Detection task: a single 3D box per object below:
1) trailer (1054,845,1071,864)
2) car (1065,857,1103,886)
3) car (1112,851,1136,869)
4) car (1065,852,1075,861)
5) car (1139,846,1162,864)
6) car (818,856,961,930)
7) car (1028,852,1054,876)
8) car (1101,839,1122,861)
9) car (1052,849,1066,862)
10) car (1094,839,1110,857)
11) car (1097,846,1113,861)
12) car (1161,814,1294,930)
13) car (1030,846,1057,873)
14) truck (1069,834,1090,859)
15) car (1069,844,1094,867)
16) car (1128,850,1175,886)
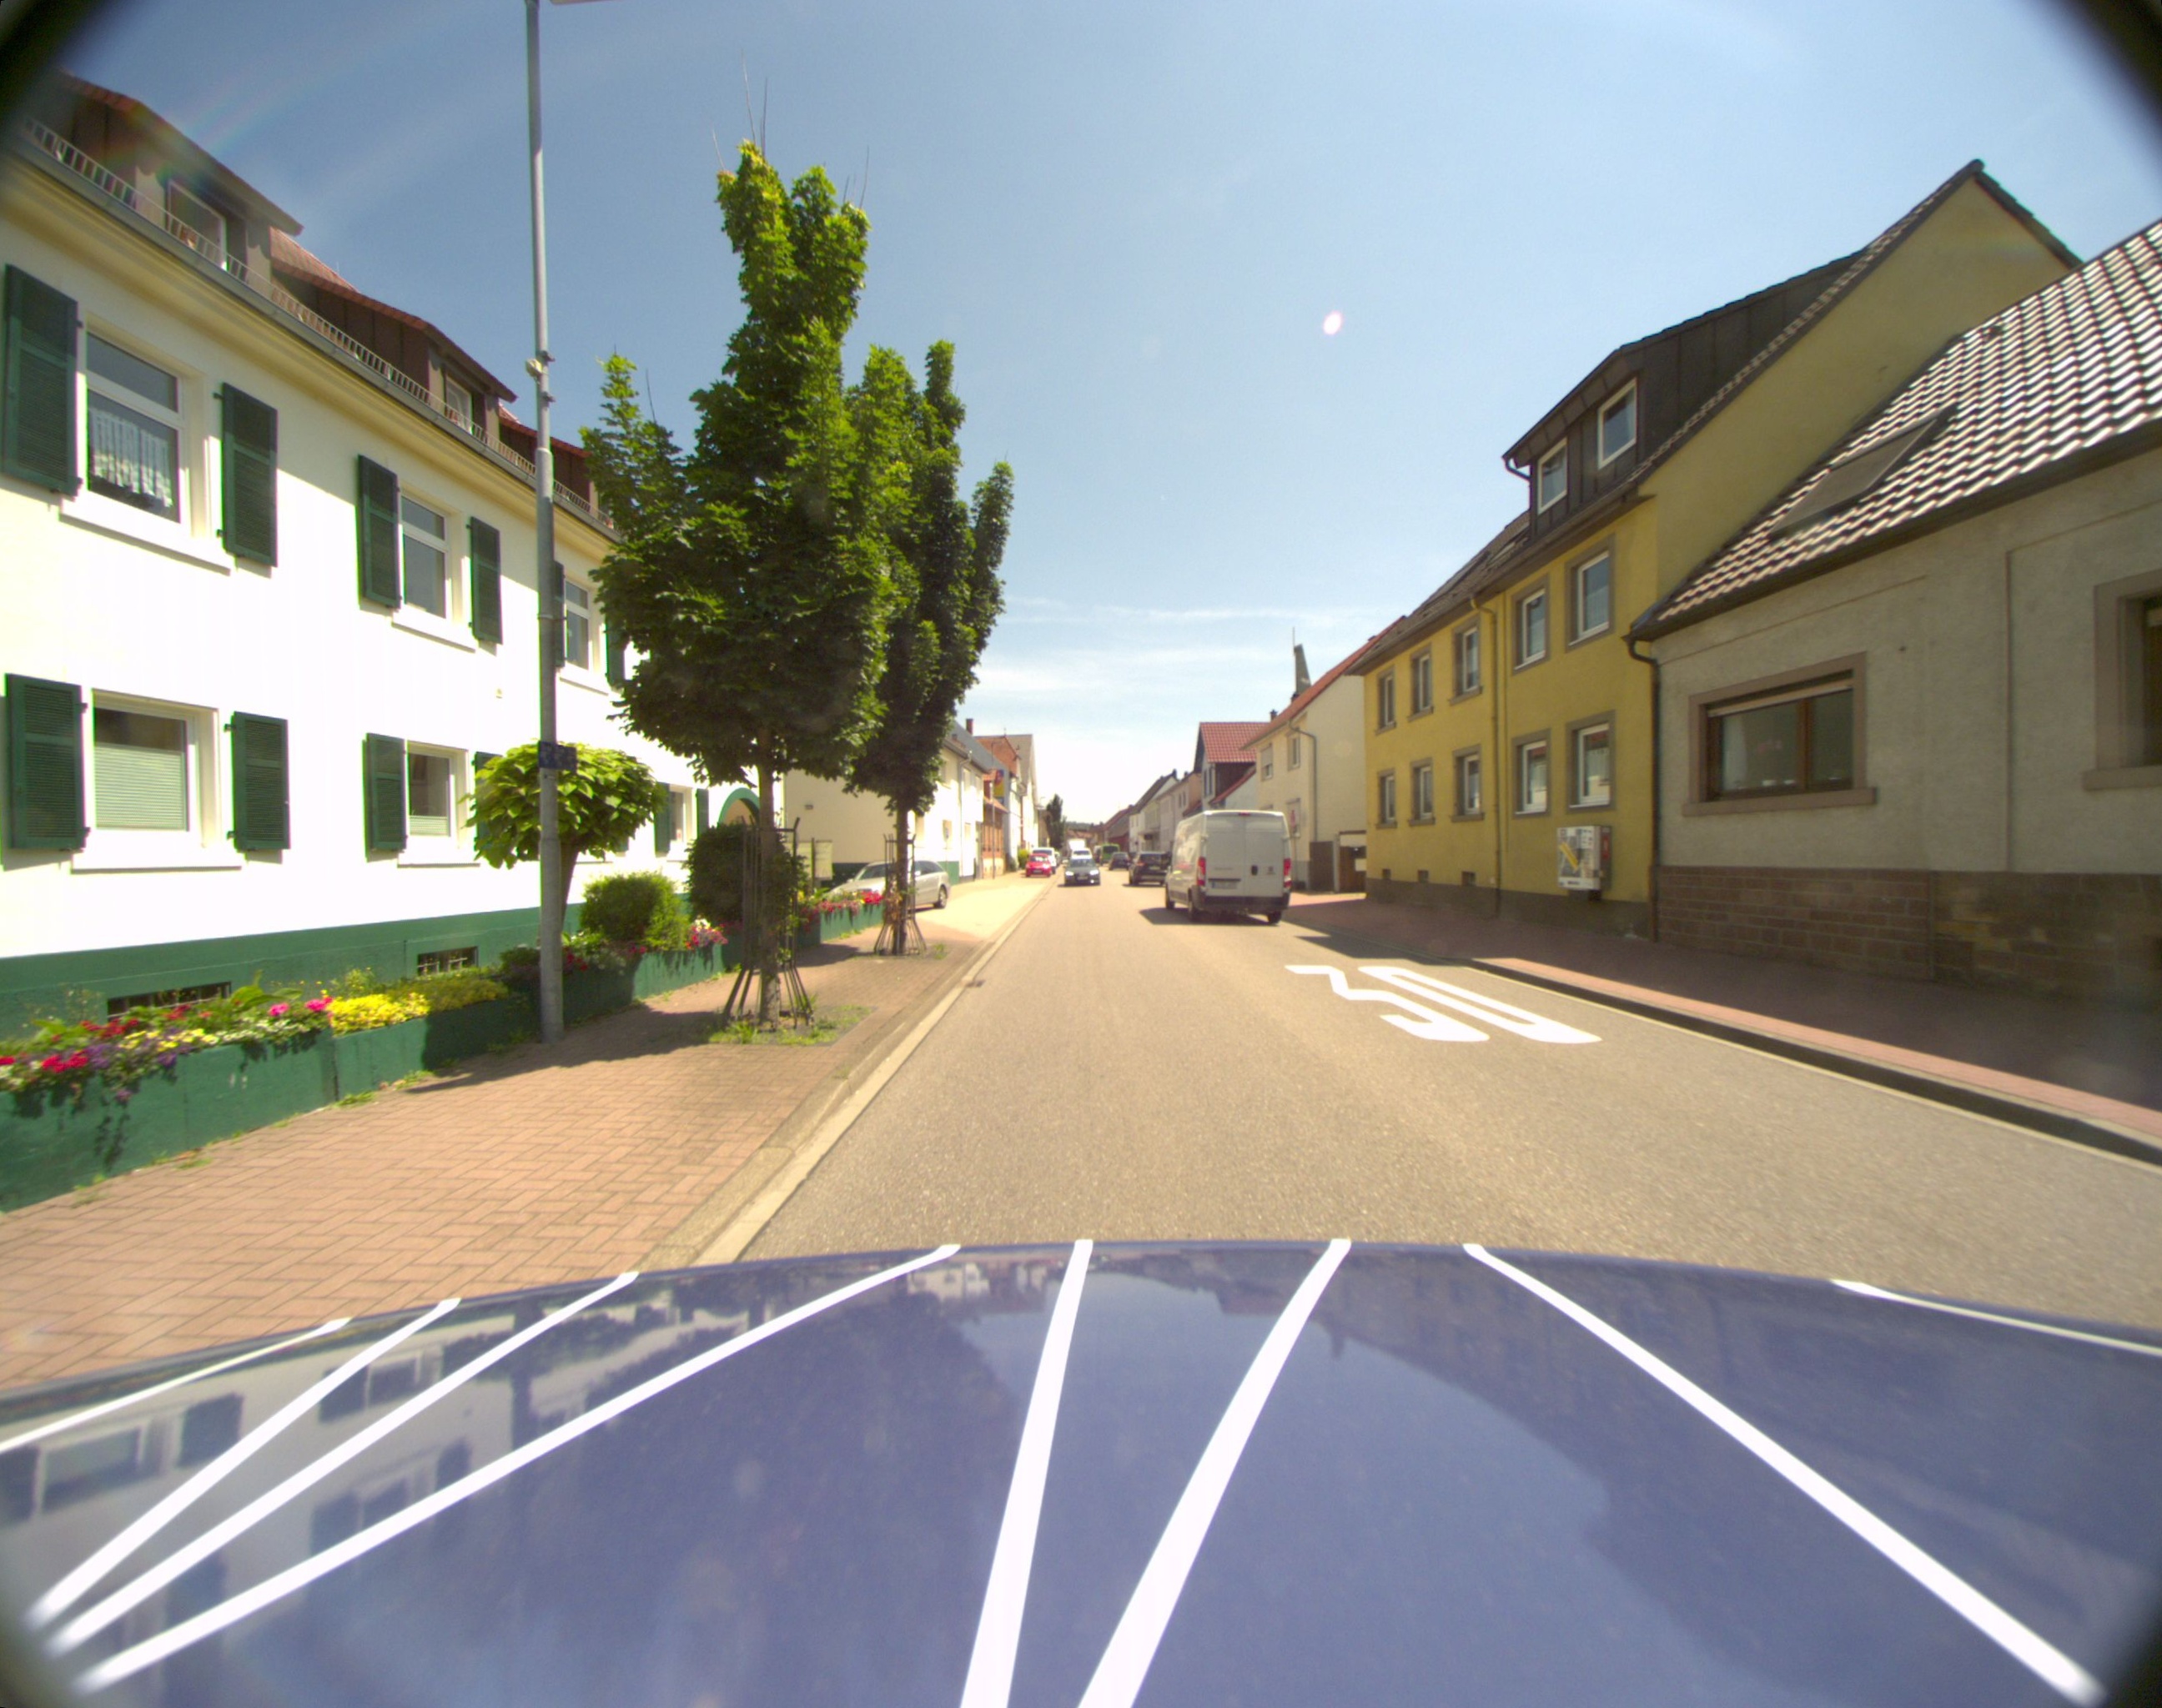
[{"bbox_3d":[-4.133,-0.035,163.764,2.638,3.956,15.688,1,1,-5],"label":"trailer"},{"bbox_3d":[0.124,0.863,38.790,1.786,1.364,3.606,-2,0,-1],"label":"car"},{"bbox_3d":[3.653,0.496,65.200,1.769,1.527,4.077,0,0,-1],"label":"car"},{"bbox_3d":[-2.092,0.438,141.671,1.776,1.605,4.190,0,1,-2],"label":"car"},{"bbox_3d":[6.702,0.085,73.516,1.813,1.548,4.564,-3,1,0],"label":"car"},{"bbox_3d":[-4.856,0.932,20.163,1.818,1.454,4.886,-5,1,8],"label":"car"},{"bbox_3d":[-2.639,0.630,50.739,1.614,1.519,3.676,0,0,-1],"label":"car"},{"bbox_3d":[3.261,-0.409,82.836,2.056,2.340,6.081,0,0,0],"label":"car"},{"bbox_3d":[-2.822,0.207,98.013,1.807,1.604,4.548,1,0,-1],"label":"car"},{"bbox_3d":[3.086,-0.872,113.685,2.130,2.527,5.461,0,0,0],"label":"car"},{"bbox_3d":[3.135,-0.087,101.185,1.886,1.932,5.117,0,1,-1],"label":"car"},{"bbox_3d":[3.421,0.362,19.071,2.075,2.441,6.006,0,0,-1],"label":"car"},{"bbox_3d":[-2.779,0.387,57.772,1.951,1.959,4.783,0,0,-2],"label":"car"},{"bbox_3d":[-0.282,-1.029,108.680,2.867,3.492,8.318,0,0,-1],"label":"truck"},{"bbox_3d":[0.038,0.117,69.387,2.079,1.949,5.518,-2,0,0],"label":"car"},{"bbox_3d":[3.408,0.641,37.368,1.844,1.660,4.323,0,0,-1],"label":"car"}]
